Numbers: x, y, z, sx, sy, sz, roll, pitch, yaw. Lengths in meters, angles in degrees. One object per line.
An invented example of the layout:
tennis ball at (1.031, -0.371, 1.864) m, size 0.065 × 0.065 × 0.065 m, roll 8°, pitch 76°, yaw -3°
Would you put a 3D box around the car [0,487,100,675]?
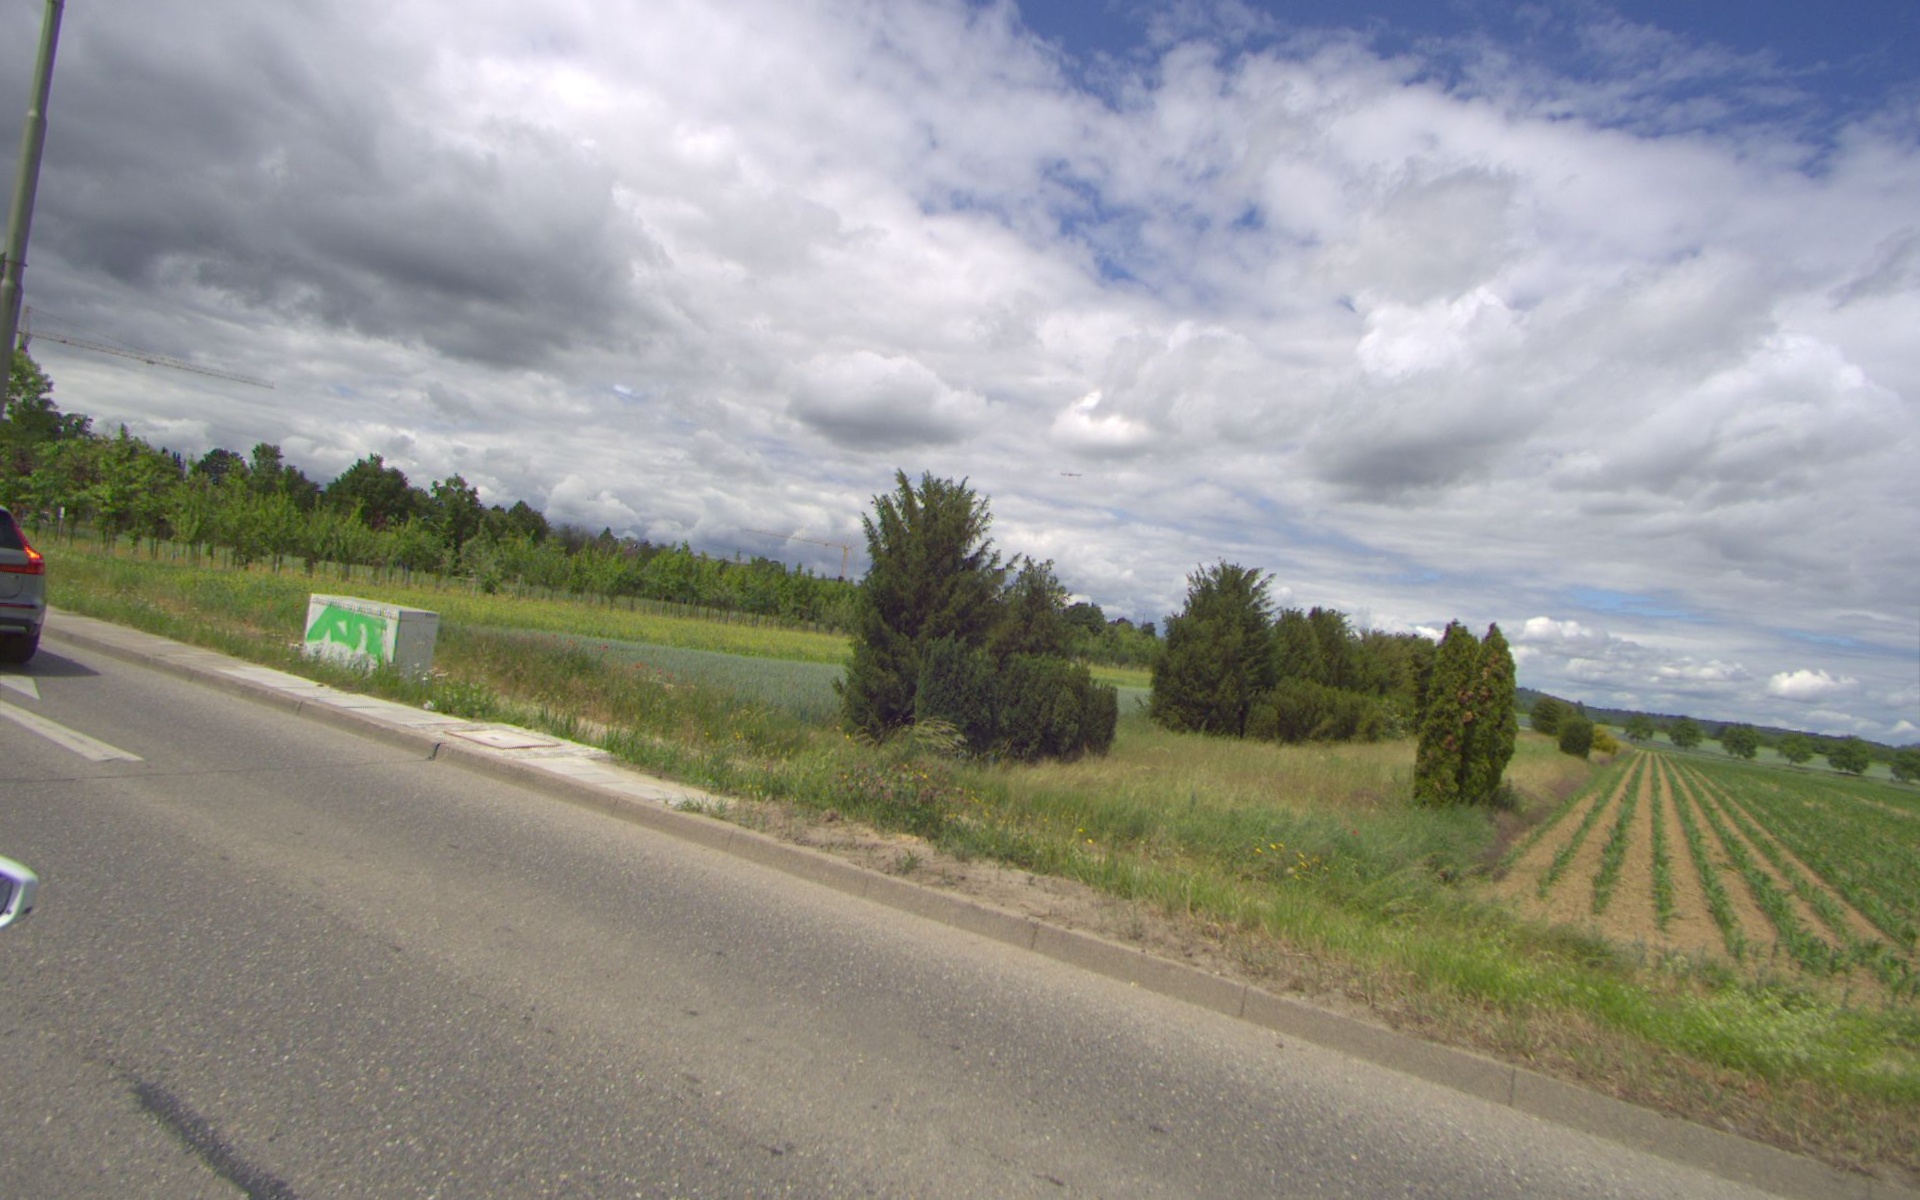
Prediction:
car at (-9.869, -0.361, 9.067) m, size 4.269 × 1.544 × 1.960 m, roll 6°, pitch 0°, yaw 32°
